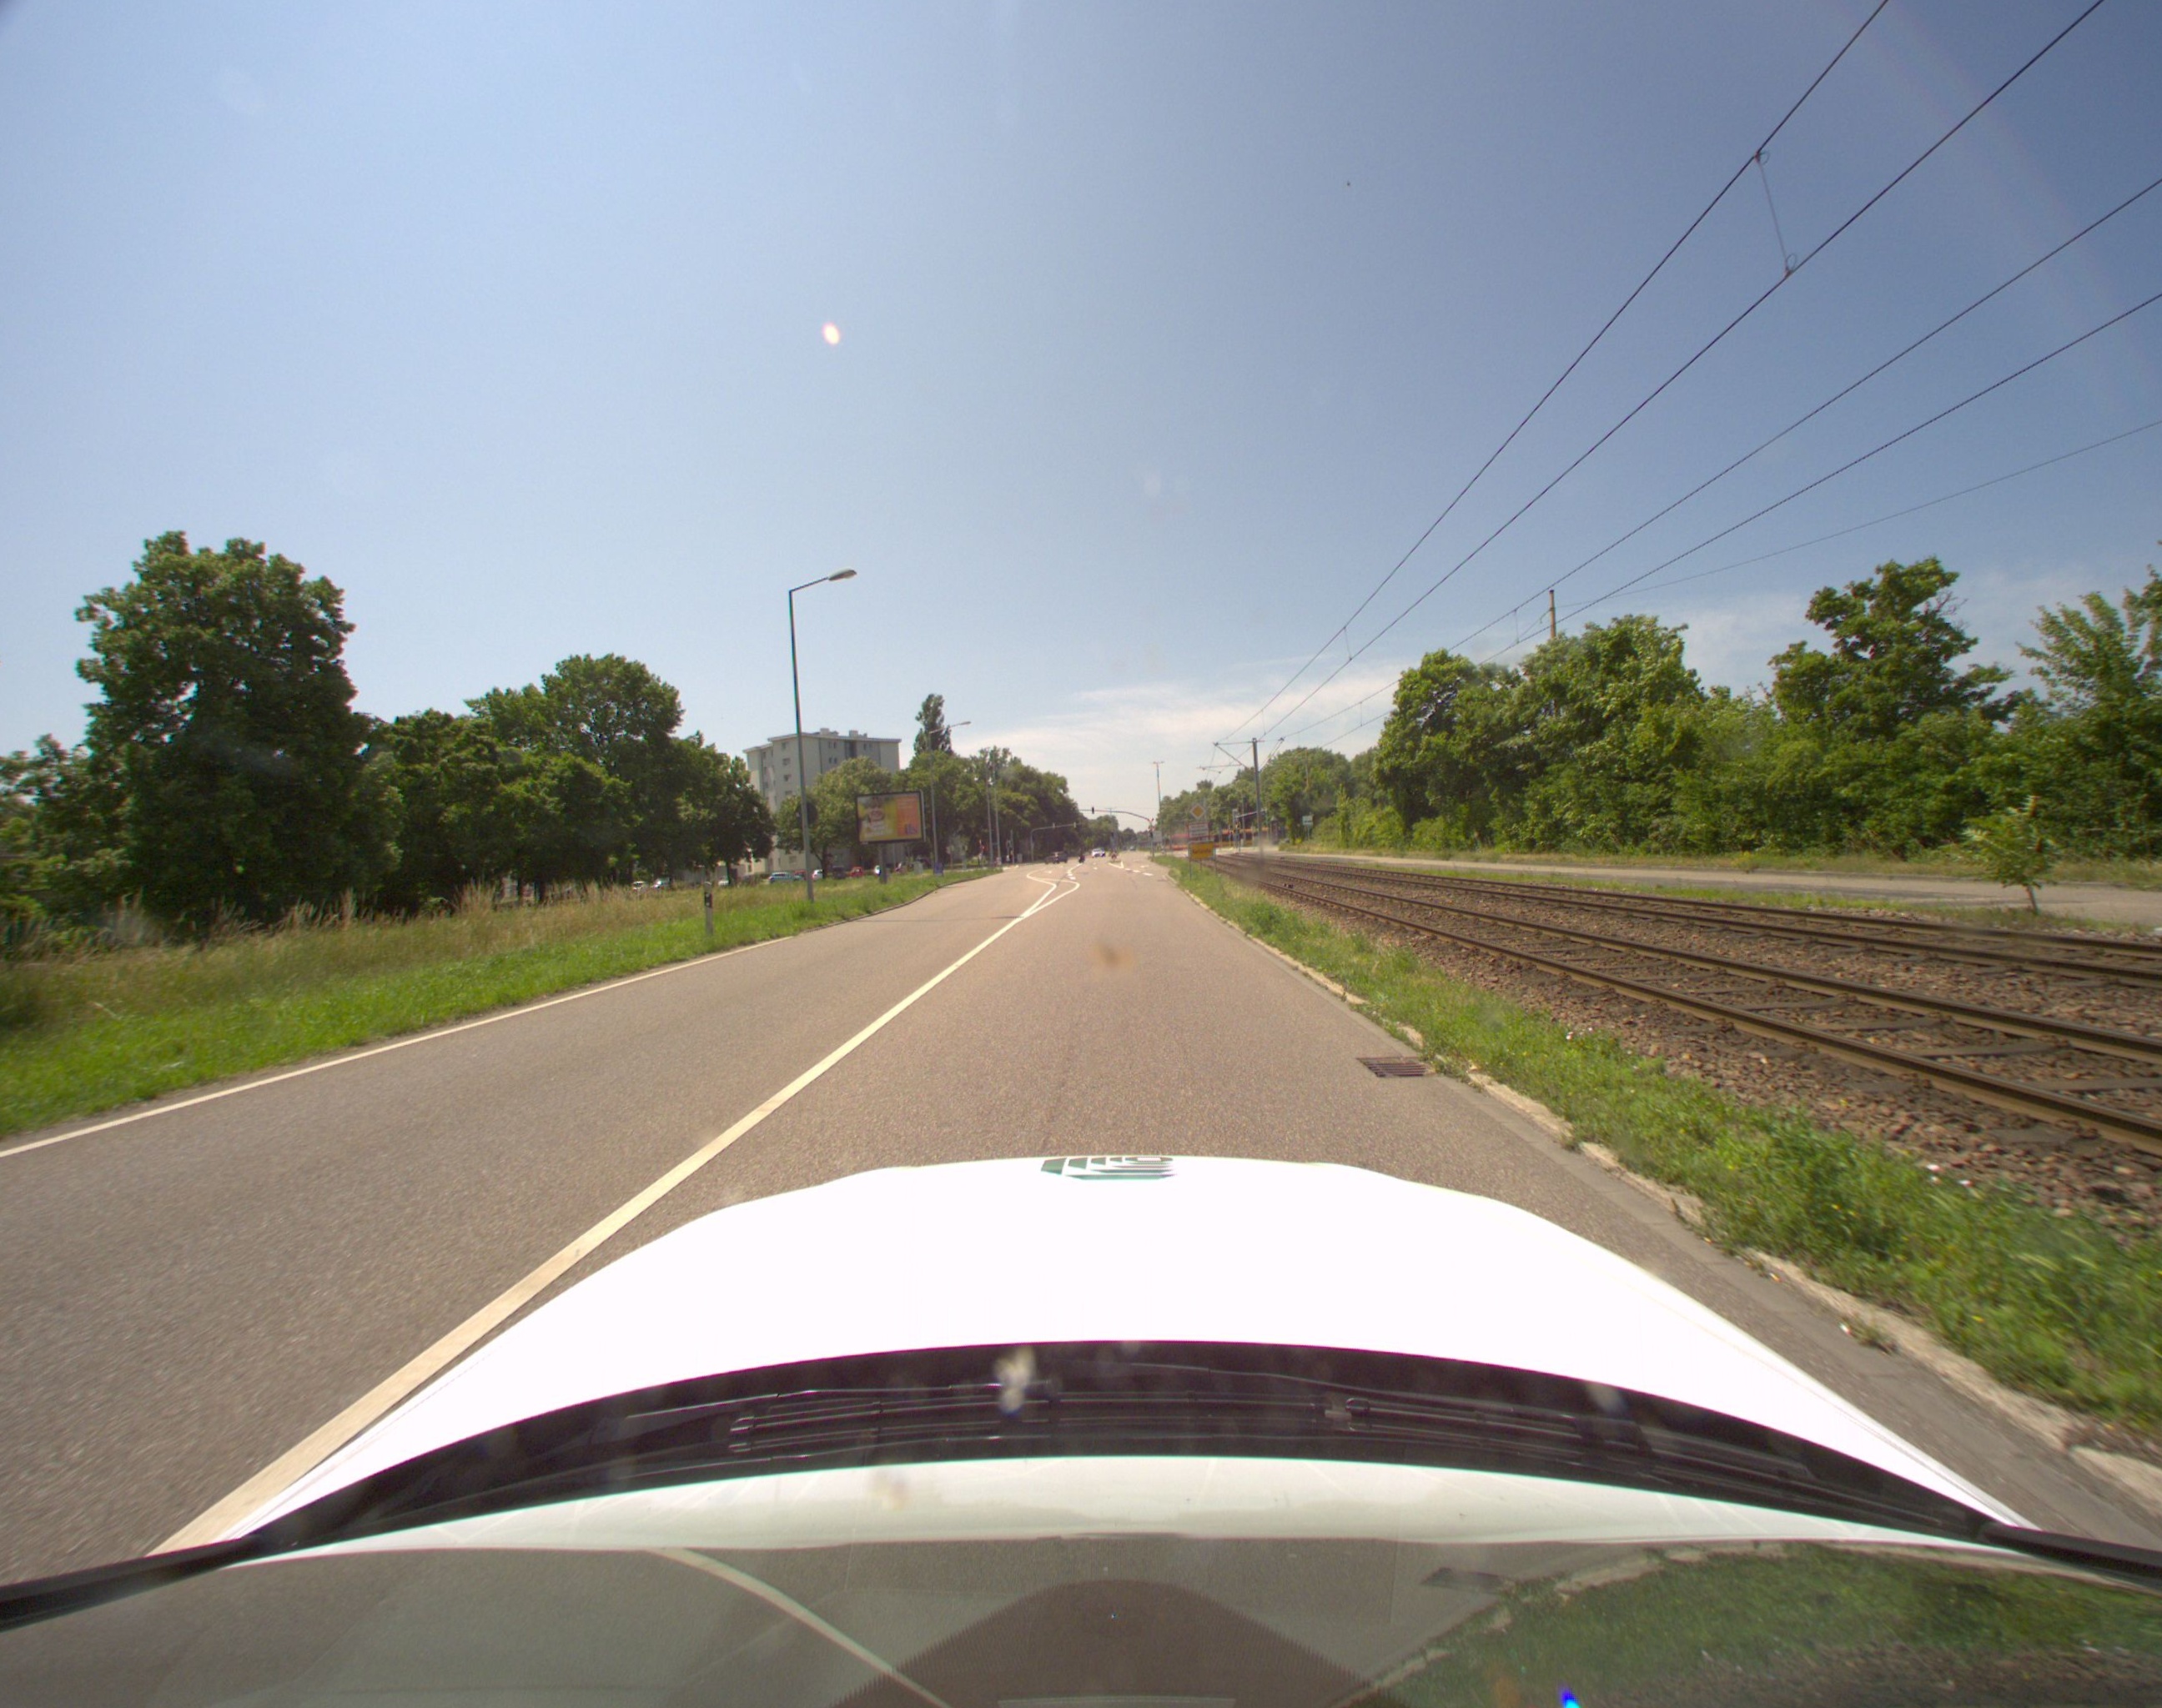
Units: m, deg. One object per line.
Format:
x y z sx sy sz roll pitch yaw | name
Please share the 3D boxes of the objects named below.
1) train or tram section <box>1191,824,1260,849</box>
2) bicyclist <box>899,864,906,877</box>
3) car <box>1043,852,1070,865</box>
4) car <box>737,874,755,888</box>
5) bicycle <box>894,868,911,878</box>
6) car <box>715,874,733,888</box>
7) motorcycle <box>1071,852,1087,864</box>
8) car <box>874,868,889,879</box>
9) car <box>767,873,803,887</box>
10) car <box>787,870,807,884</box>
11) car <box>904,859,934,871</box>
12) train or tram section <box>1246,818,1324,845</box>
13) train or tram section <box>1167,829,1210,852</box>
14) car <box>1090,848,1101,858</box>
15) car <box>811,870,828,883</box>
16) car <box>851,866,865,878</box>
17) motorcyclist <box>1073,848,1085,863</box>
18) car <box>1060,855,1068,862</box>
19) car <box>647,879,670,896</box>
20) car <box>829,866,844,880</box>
28.200 -3.341 159.871 13.280 3.812 2.942 -5 -3 37 | train or tram section
-21.766 1.985 99.360 0.666 1.537 0.627 -2 -1 -20 | bicyclist
-3.123 0.536 102.295 1.915 1.499 4.595 -3 0 -23 | car
-43.232 3.448 105.221 1.852 1.711 3.974 -3 0 -19 | car
-21.754 2.333 99.317 1.870 1.093 0.642 -1 0 -20 | bicycle
-45.728 3.443 104.440 1.693 1.562 3.813 -4 0 -19 | car
-0.180 0.464 90.566 0.839 1.255 2.462 -3 0 22 | motorcycle
-27.324 2.691 111.297 1.629 1.380 3.975 -3 0 -18 | car
-35.349 3.077 97.123 3.901 1.468 1.762 -4 0 -22 | car
-37.489 3.098 107.489 1.857 1.668 3.964 -4 0 -27 | car
-27.104 1.806 136.289 1.769 1.768 4.577 -4 0 43 | car
38.341 -4.155 153.533 13.864 3.919 2.941 -4 -3 28 | train or tram section
22.141 -2.677 168.550 2.924 3.812 12.983 -2 -3 -20 | train or tram section
2.574 -0.221 142.864 1.777 1.628 3.869 -4 0 3 | car
-34.785 3.032 108.343 1.712 1.592 3.968 -3 0 -24 | car
-30.045 2.393 109.772 1.620 1.464 3.982 -3 0 -13 | car
-0.207 0.177 90.613 0.783 1.643 1.217 -3 0 22 | motorcyclist
-4.842 1.335 233.763 1.987 2.014 3.999 -1 0 0 | car
-52.421 4.100 101.074 1.852 1.947 3.974 -3 0 -19 | car
-32.728 2.518 108.963 1.710 1.800 3.974 -3 0 -19 | car
